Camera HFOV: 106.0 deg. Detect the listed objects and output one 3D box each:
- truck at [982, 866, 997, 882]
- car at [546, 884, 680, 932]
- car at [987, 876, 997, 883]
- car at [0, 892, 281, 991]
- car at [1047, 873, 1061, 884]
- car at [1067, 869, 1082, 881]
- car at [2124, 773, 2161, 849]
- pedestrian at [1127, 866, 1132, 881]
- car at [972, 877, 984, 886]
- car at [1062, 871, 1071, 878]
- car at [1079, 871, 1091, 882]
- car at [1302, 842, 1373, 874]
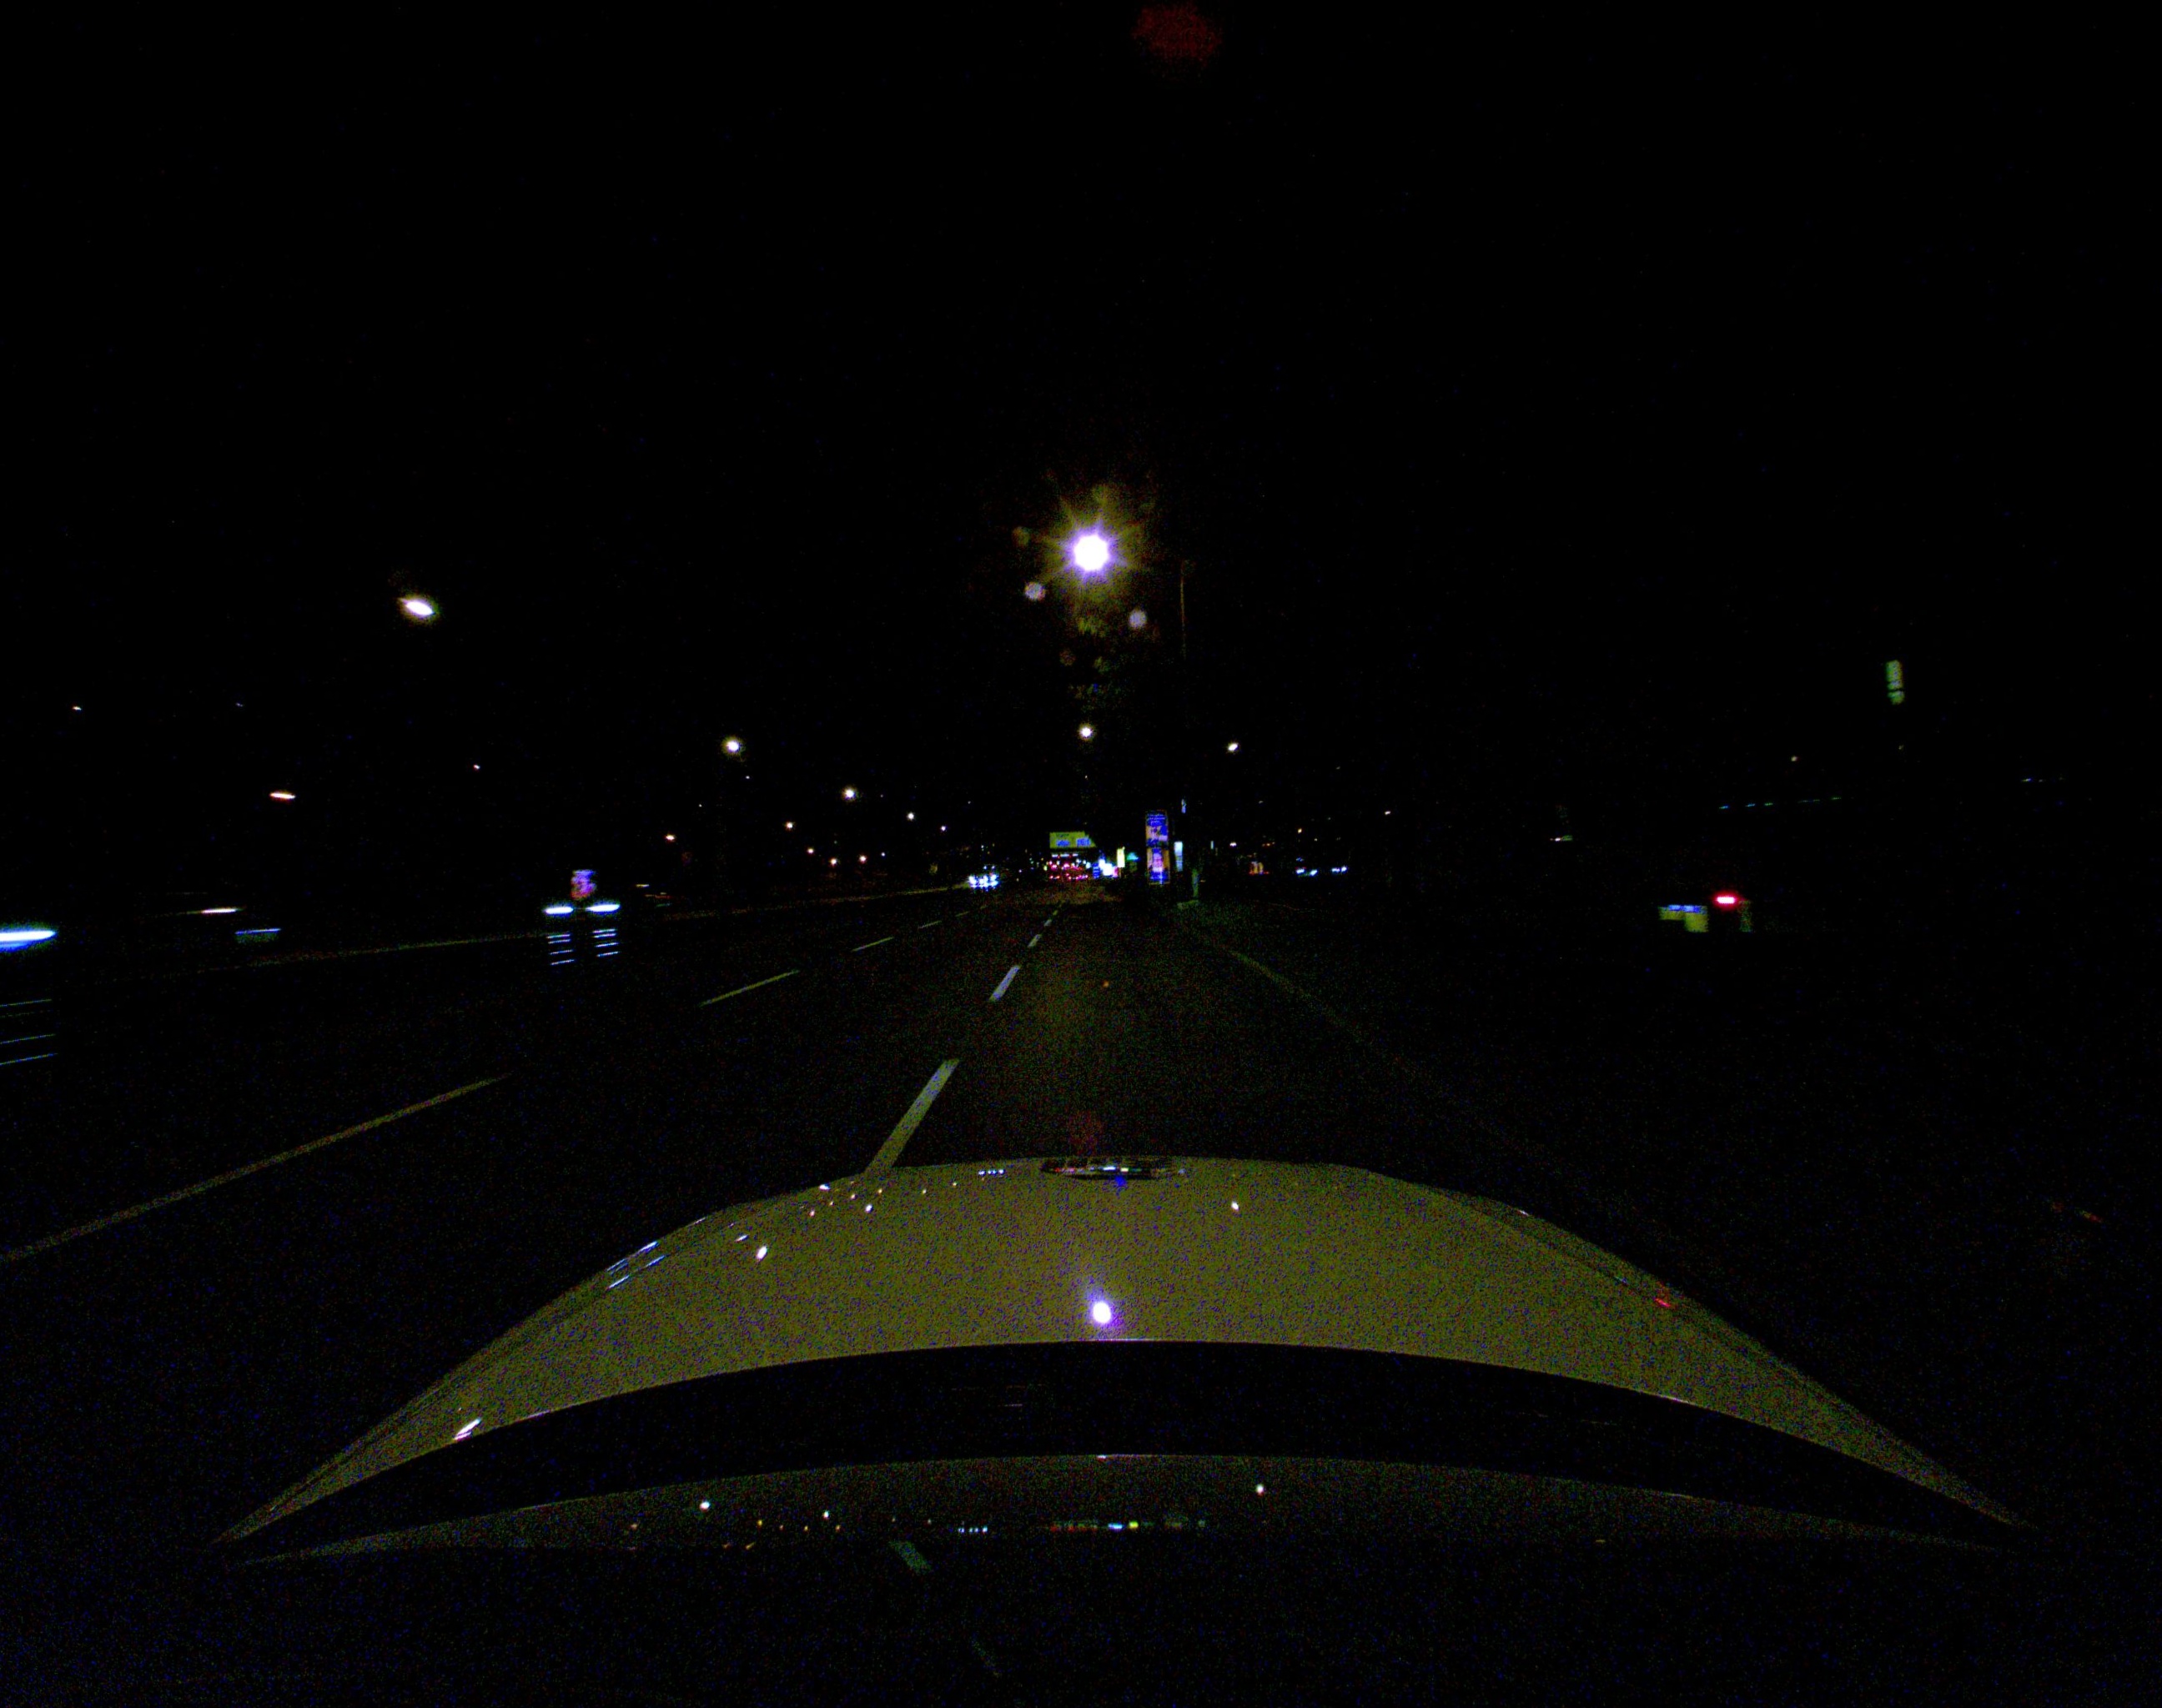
[{"bbox_3d":[-22.211,4.801,197.887,3.031,3.819,4.934,-2,-1,0],"label":"truck"},{"bbox_3d":[-16.629,1.861,29.291,1.860,1.429,4.956,-1,-1,1],"label":"car"},{"bbox_3d":[-20.071,5.665,183.738,1.905,1.474,3.770,-2,-1,-1],"label":"car"},{"bbox_3d":[-19.111,1.643,16.079,1.855,1.514,4.616,-4,-1,3],"label":"car"},{"bbox_3d":[-5.083,4.692,156.131,2.253,2.014,4.830,-2,-1,3],"label":"car"},{"bbox_3d":[-1.115,3.900,150.109,2.346,2.129,4.830,-2,-1,3],"label":"car"},{"bbox_3d":[31.123,-1.335,22.961,4.025,1.658,1.612,-11,1,-42],"label":"car"},{"bbox_3d":[8.122,3.294,136.908,0.742,2.435,0.780,-1,-1,3],"label":"pedestrian"},{"bbox_3d":[-20.404,5.472,161.100,1.858,1.750,3.700,-1,-1,-1],"label":"car"},{"bbox_3d":[-3.277,4.861,190.044,1.987,1.553,3.999,-2,-1,0],"label":"car"},{"bbox_3d":[0.928,4.871,177.726,2.417,2.113,4.830,-1,-1,3],"label":"car"},{"bbox_3d":[15.805,0.274,50.197,3.781,1.862,1.984,-1,-1,-24],"label":"car"}]
